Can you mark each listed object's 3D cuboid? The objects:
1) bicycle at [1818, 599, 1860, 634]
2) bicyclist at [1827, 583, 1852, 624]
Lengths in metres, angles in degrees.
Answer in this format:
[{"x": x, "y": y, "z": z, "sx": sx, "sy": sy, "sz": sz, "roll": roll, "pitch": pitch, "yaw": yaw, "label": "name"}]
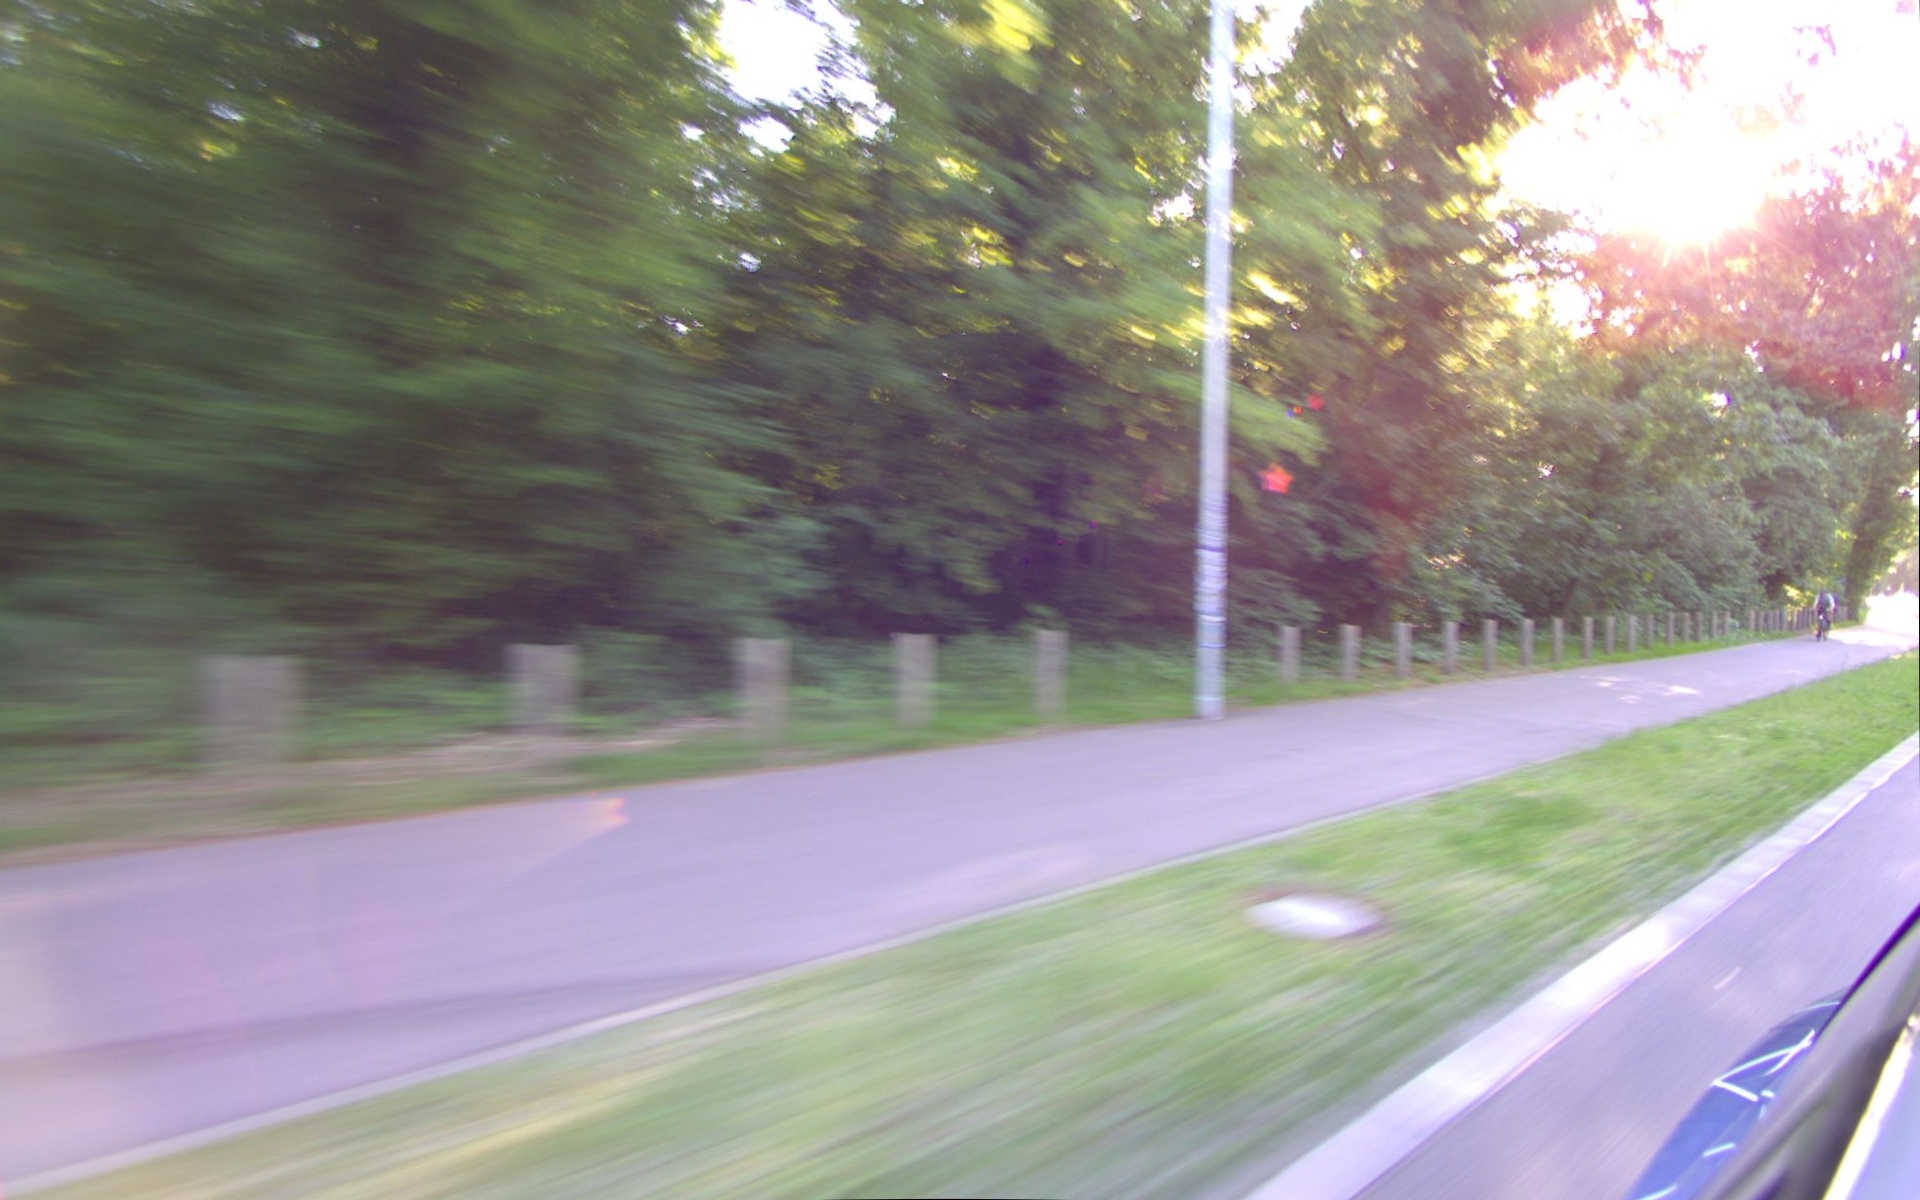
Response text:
[{"x": 28.390, "y": 0.515, "z": 32.676, "sx": 2.824, "sy": 1.070, "sz": 0.608, "roll": 0, "pitch": 2, "yaw": -41, "label": "bicycle"}, {"x": 28.142, "y": 0.095, "z": 32.388, "sx": 0.489, "sy": 1.283, "sz": 0.514, "roll": 0, "pitch": 1, "yaw": -41, "label": "bicyclist"}]
